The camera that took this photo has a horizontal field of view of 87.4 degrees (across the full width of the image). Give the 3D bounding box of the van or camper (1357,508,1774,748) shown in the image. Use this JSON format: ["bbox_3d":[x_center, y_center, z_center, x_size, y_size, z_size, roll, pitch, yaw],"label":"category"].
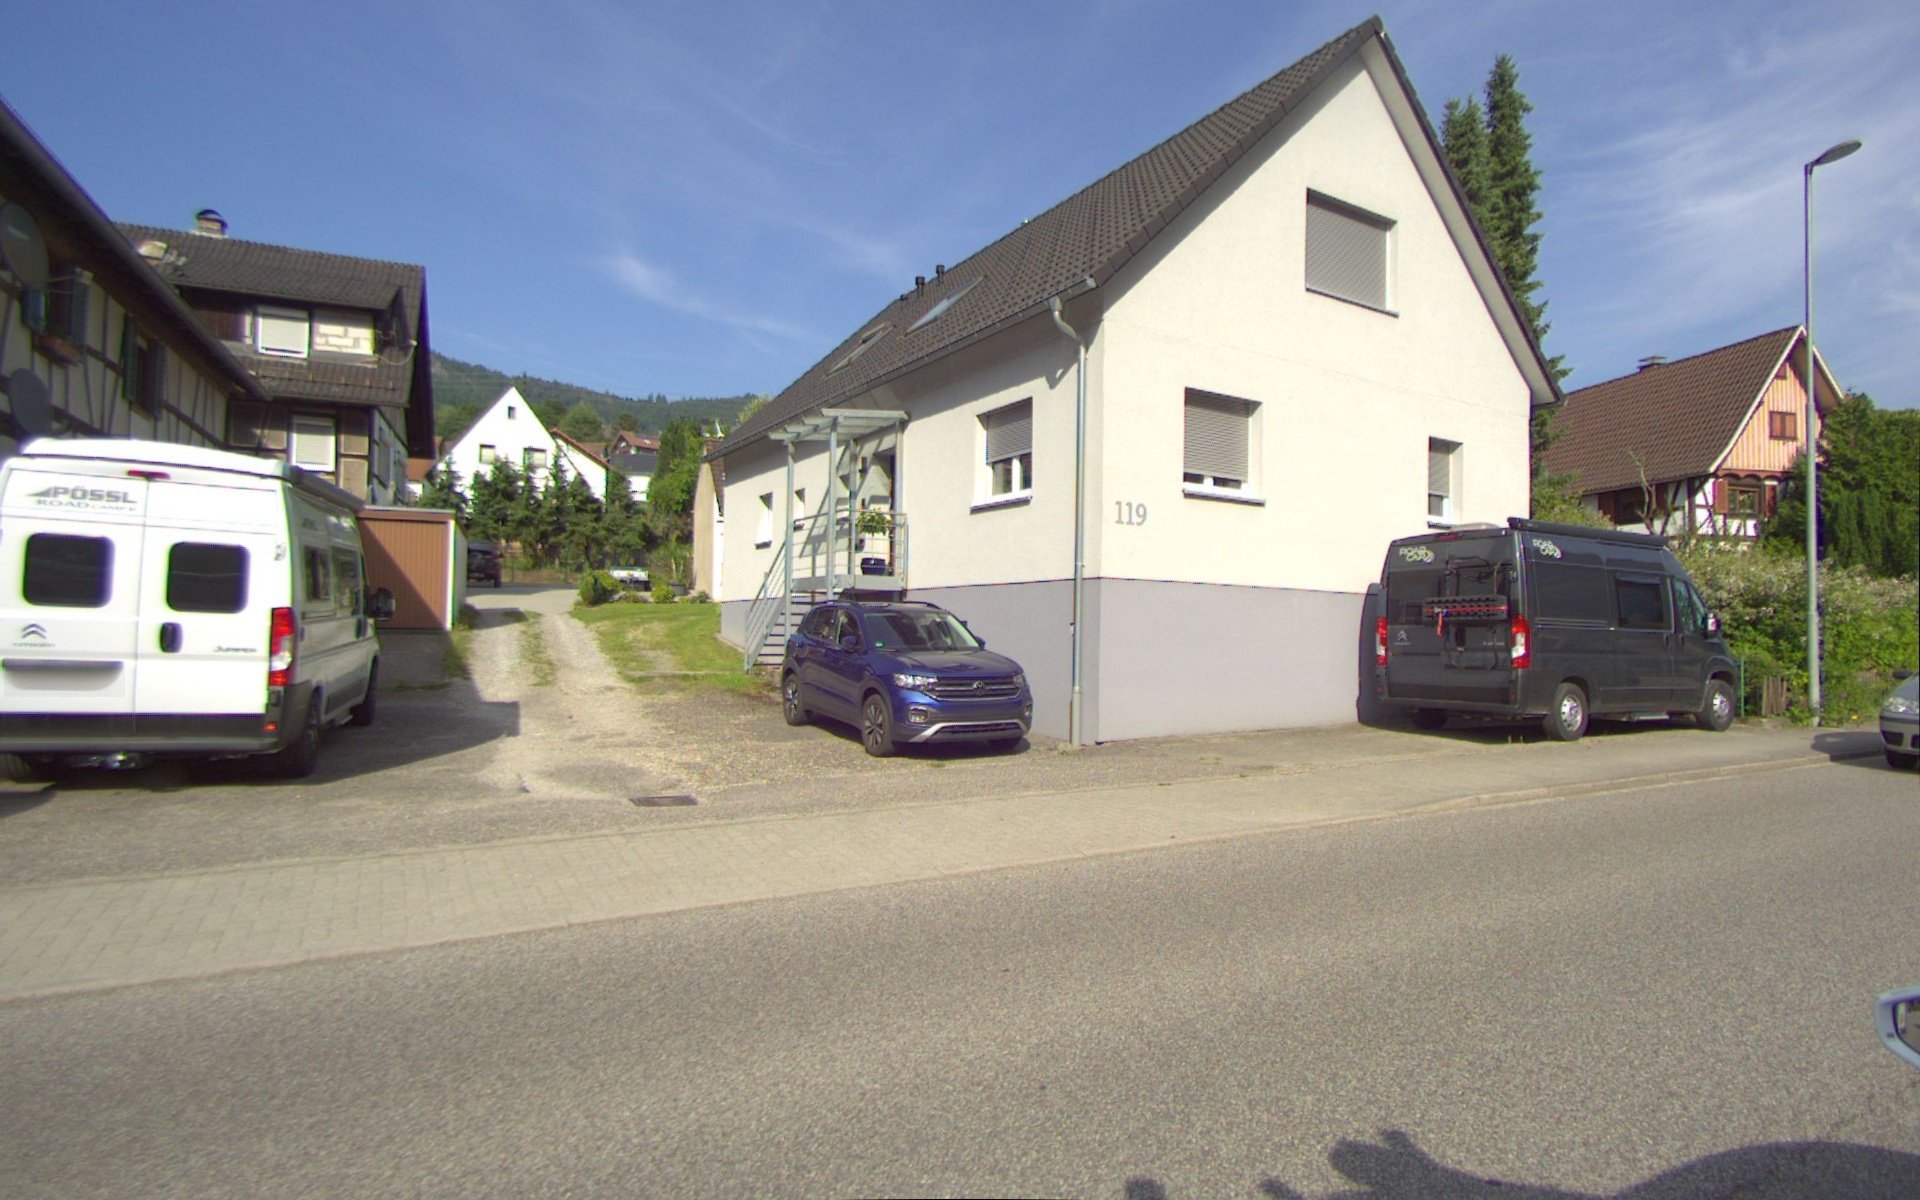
[{"bbox_3d":[8.080,0.374,13.238,5.830,2.589,2.139,1,-1,-29],"label":"van or camper"}]

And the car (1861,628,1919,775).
[{"bbox_3d":[11.711,1.077,11.026,3.954,1.504,1.622,1,-2,-31],"label":"car"}]

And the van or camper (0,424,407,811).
[{"bbox_3d":[-6.937,0.132,9.702,2.161,2.699,5.164,1,0,-23],"label":"van or camper"}]

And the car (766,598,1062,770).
[{"bbox_3d":[-0.719,0.811,11.732,1.884,1.570,3.899,1,1,-30],"label":"car"}]

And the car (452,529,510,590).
[{"bbox_3d":[-17.810,-1.531,37.268,1.644,2.040,3.796,3,2,-29],"label":"car"}]
